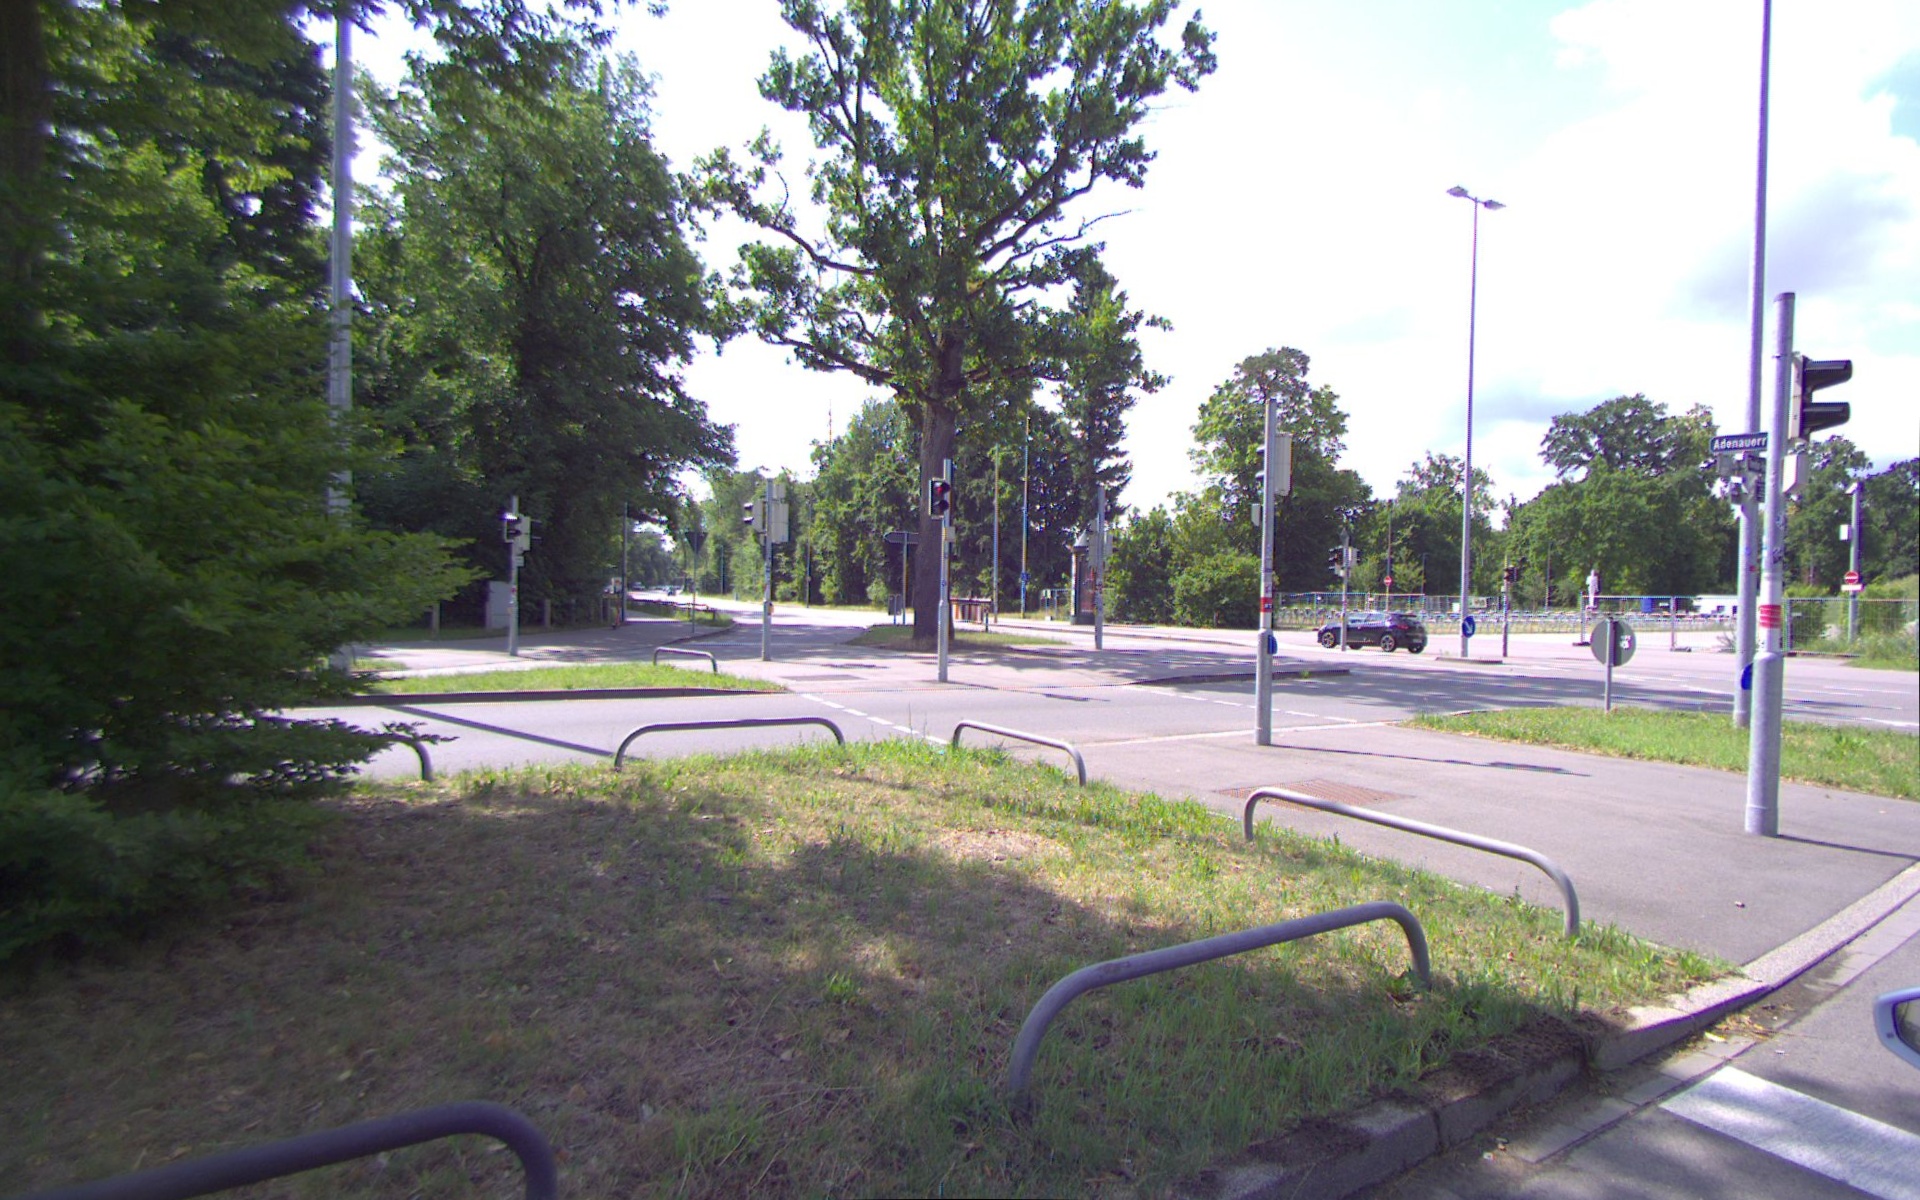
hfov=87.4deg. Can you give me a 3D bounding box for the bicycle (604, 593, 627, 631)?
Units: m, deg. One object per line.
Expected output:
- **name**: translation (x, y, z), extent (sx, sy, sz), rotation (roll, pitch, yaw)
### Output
- **bicycle**: translation (-11.095, 0.373, 32.376), extent (0.413, 1.189, 1.228), rotation (2, 0, -8)

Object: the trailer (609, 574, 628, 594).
- **trailer**: translation (-42.682, -1.963, 125.620), extent (1.971, 2.420, 3.979), rotation (2, 0, -22)

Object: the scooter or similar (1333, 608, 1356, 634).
- **scooter or similar**: translation (18.921, 1.021, 49.416), extent (1.299, 1.269, 0.403), rotation (0, 1, -37)

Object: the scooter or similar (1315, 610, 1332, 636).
- **scooter or similar**: translation (17.622, 1.089, 48.668), extent (0.399, 1.216, 1.312), rotation (1, 1, 3)

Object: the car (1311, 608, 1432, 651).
- **car**: translation (14.979, 1.056, 36.730), extent (1.583, 1.396, 3.945), rotation (2, 0, -29)
